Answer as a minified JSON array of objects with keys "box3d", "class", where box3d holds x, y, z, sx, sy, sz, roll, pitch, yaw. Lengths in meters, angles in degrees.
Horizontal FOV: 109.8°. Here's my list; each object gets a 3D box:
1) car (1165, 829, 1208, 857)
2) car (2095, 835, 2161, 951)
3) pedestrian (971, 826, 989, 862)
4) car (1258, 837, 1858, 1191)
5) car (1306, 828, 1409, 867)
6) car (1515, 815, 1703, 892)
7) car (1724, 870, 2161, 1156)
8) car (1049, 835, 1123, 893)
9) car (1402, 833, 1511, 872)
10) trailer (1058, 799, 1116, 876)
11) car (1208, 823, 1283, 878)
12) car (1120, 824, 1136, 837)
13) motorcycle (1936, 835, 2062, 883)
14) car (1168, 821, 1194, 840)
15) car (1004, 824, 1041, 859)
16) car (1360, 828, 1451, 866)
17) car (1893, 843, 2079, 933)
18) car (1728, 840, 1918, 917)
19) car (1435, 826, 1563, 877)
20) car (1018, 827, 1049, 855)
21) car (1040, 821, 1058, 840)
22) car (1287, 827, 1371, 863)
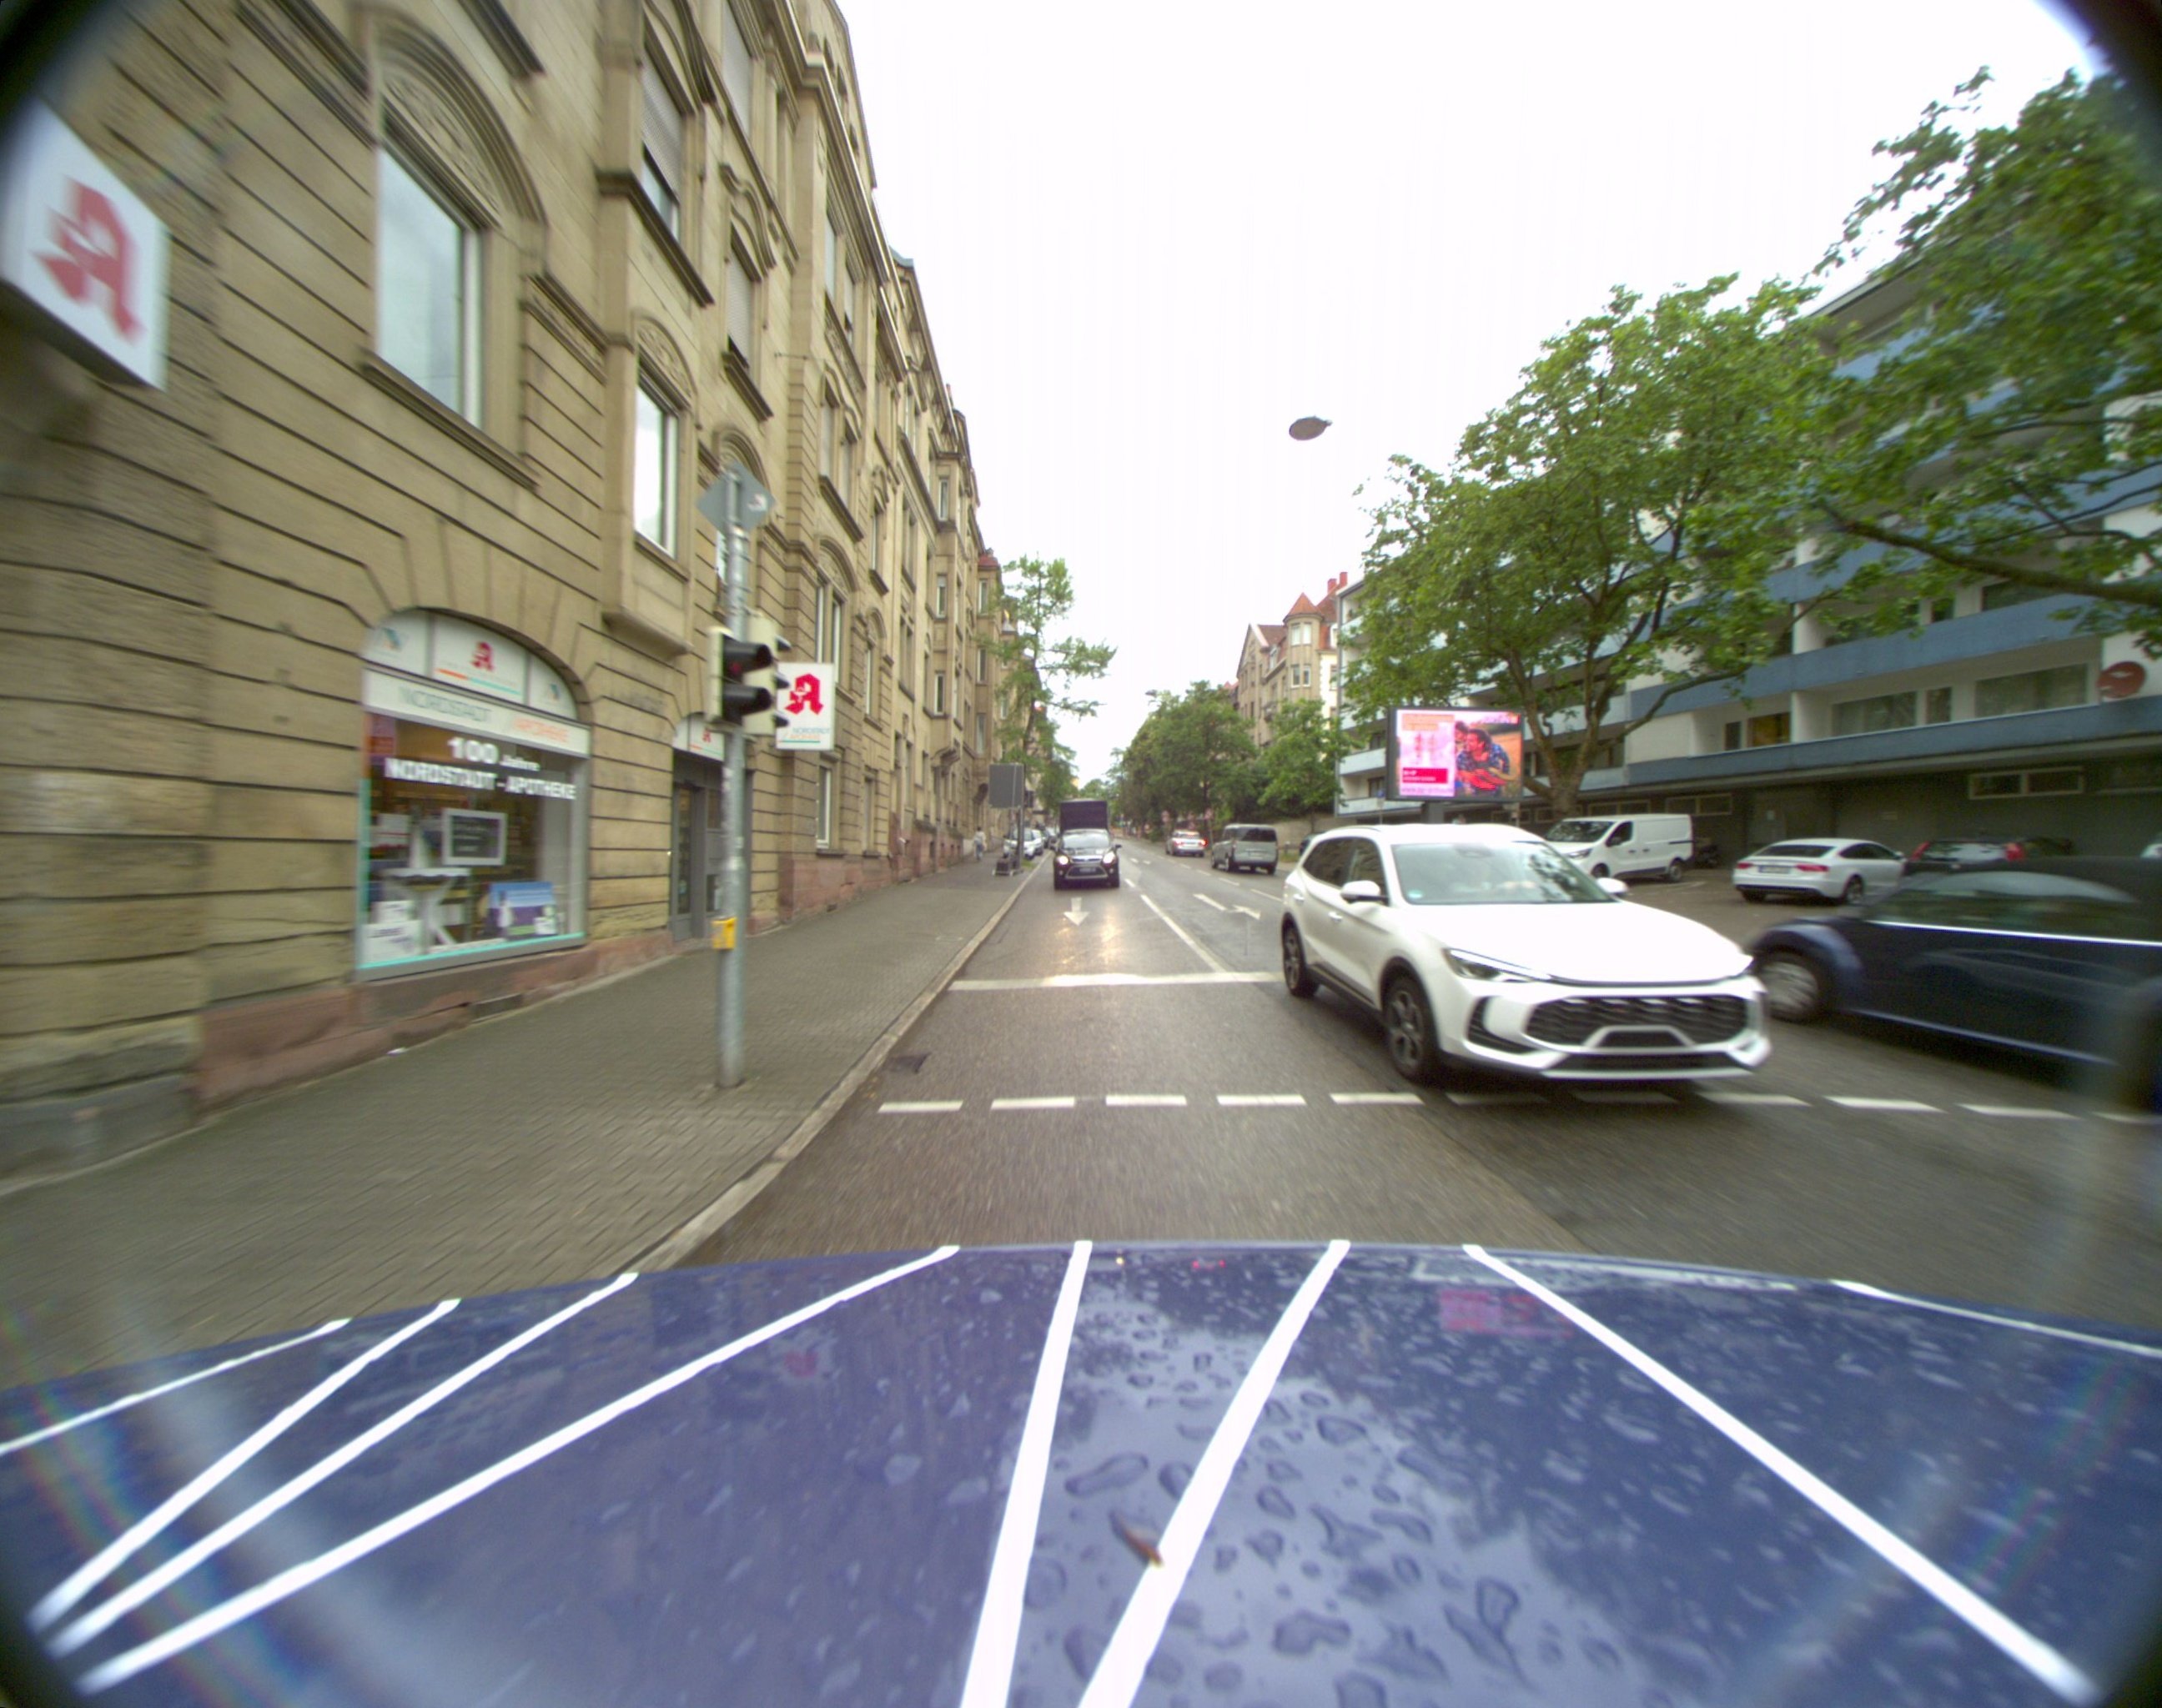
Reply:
[{"box3d":[6.082,-0.670,44.288,1.731,1.440,4.323,3,2,-2],"class":"car"},{"box3d":[18.096,0.567,12.023,4.222,1.633,1.936,-2,2,-30],"class":"car"},{"box3d":[-4.400,-0.443,33.225,0.645,1.489,0.690,3,5,-1],"class":"pedestrian"},{"box3d":[2.810,0.722,5.845,1.757,1.635,4.376,-1,2,-2],"class":"car"},{"box3d":[12.509,-0.324,34.358,4.317,1.584,1.807,-3,3,-24],"class":"car"},{"box3d":[15.033,-0.077,21.636,4.981,1.966,1.876,-2,2,-20],"class":"car"},{"box3d":[6.871,0.941,5.194,1.718,1.488,3.681,1,1,-2],"class":"car"},{"box3d":[0.218,0.224,22.009,1.861,1.504,3.682,1,2,5],"class":"car"},{"box3d":[14.674,-0.104,29.711,3.840,1.398,1.688,-1,2,-21],"class":"car"},{"box3d":[0.232,-0.601,28.334,1.938,2.622,4.683,-1,1,1],"class":"trailer"},{"box3d":[6.265,-0.196,29.363,1.818,1.871,4.240,4,2,-1],"class":"car"},{"box3d":[6.201,-3.087,101.105,1.794,1.656,3.885,3,2,0],"class":"car"},{"box3d":[23.912,0.102,19.856,0.704,1.161,1.958,-1,2,-11],"class":"motorcycle"},{"box3d":[8.632,-2.015,65.712,1.752,1.498,3.885,3,2,1],"class":"car"},{"box3d":[-2.949,-0.667,38.882,1.526,1.609,3.492,4,1,-1],"class":"car"},{"box3d":[13.917,-0.332,32.533,3.841,1.398,1.676,-4,4,-31],"class":"car"},{"box3d":[17.097,0.547,14.337,3.627,1.408,1.627,-2,2,-30],"class":"car"},{"box3d":[16.205,0.458,16.605,3.709,1.408,1.808,-2,2,-26],"class":"car"},{"box3d":[14.640,-0.126,26.677,3.839,1.680,1.803,-1,3,-19],"class":"car"},{"box3d":[-2.781,-0.780,44.894,1.547,1.478,3.761,4,2,-1],"class":"car"},{"box3d":[-3.124,-2.339,74.585,1.547,1.700,3.761,4,2,-1],"class":"car"},{"box3d":[12.289,-0.480,37.587,3.841,1.523,1.766,-4,4,-28],"class":"car"}]
